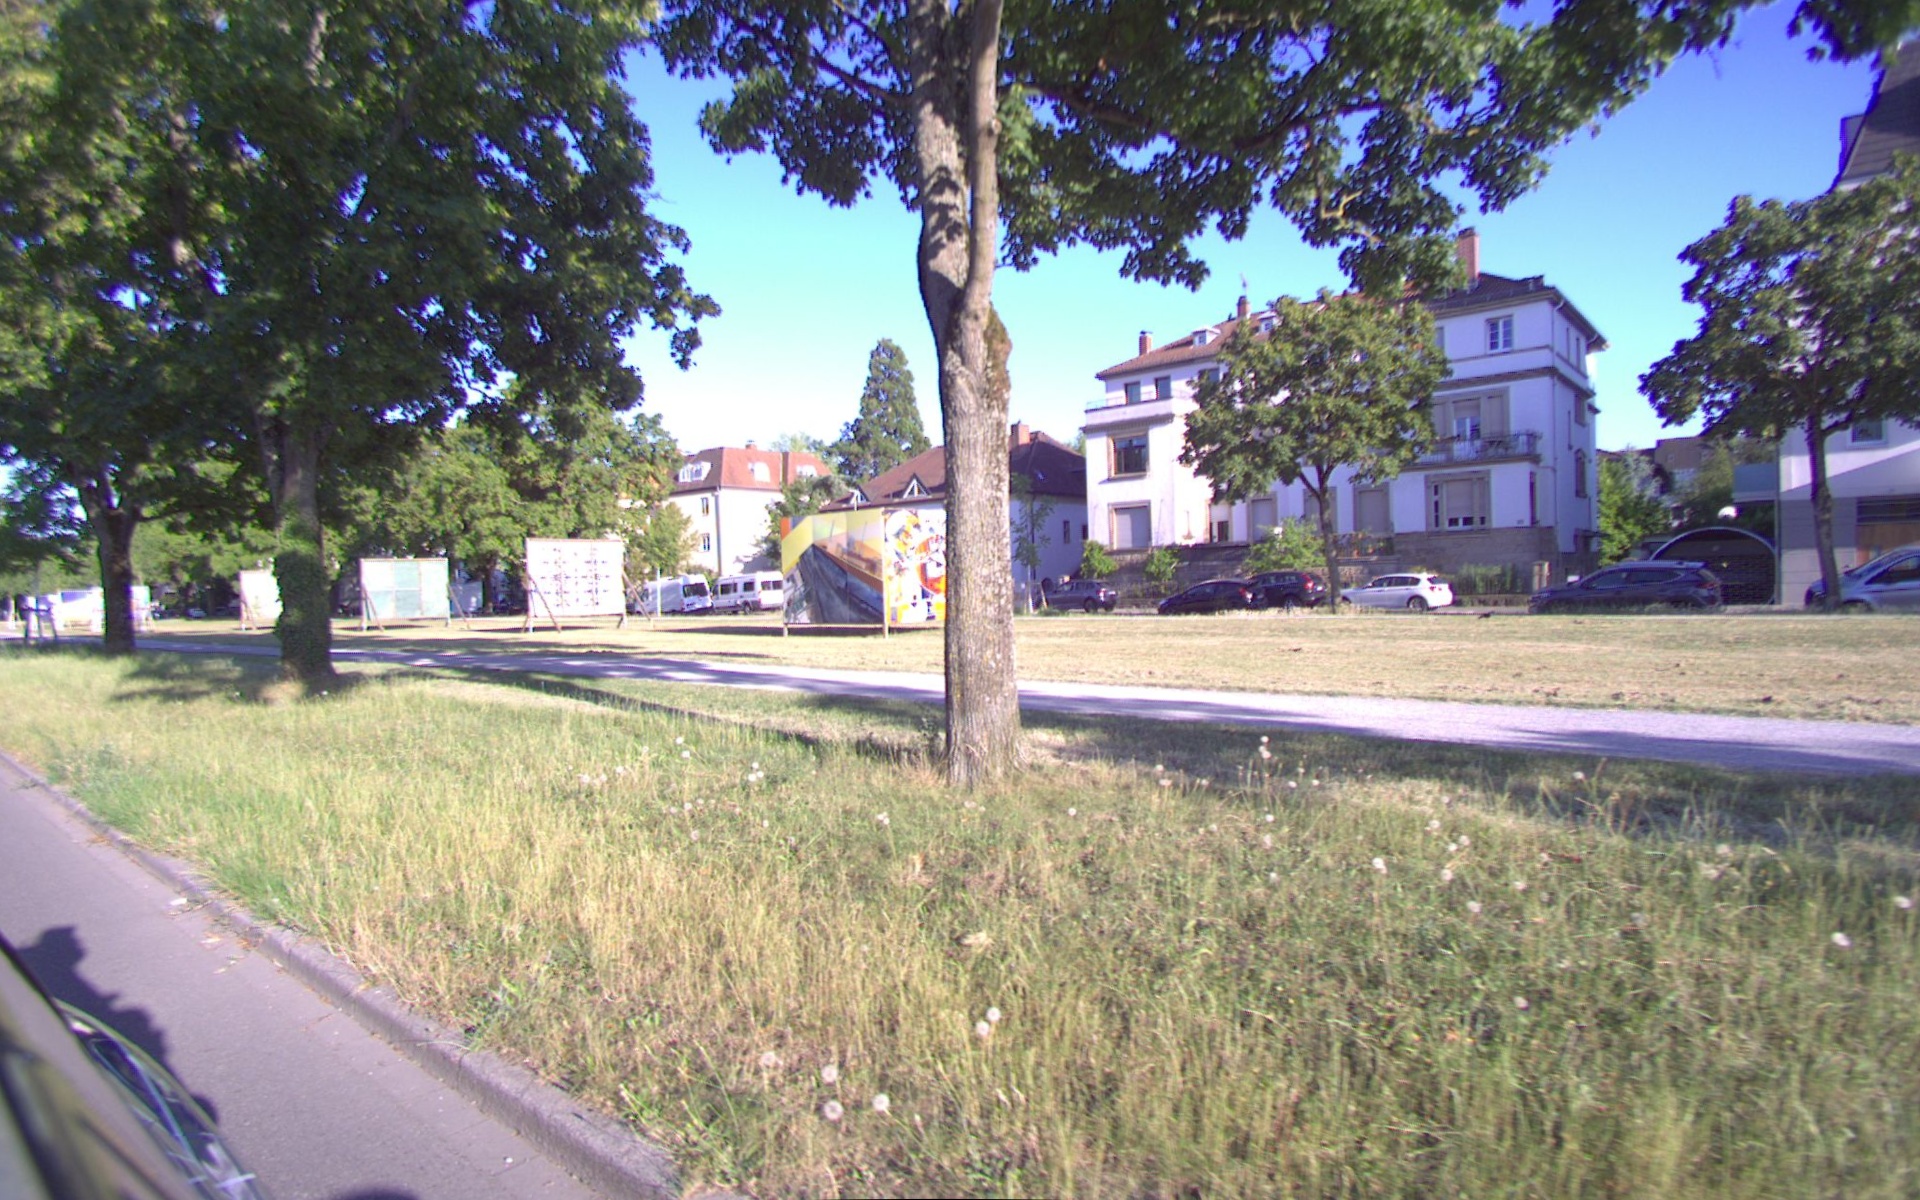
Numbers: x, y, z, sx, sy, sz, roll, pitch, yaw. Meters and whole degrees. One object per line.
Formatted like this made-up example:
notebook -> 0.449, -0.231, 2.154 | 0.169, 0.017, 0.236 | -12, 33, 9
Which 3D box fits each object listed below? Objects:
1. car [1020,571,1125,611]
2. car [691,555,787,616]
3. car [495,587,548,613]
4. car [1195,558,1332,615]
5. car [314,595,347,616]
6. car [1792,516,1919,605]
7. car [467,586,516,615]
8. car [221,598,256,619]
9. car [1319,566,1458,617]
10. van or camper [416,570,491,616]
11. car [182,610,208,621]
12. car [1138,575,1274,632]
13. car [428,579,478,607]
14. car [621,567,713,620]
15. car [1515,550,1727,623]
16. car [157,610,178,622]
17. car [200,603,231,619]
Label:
car -> 5.163, -0.390, 46.885 | 4.664, 1.715, 1.763 | 0, -1, 41
car -> -13.855, -0.877, 63.152 | 6.762, 3.586, 2.279 | 0, -1, 41
car -> -35.922, 0.022, 82.835 | 5.048, 2.019, 1.949 | -1, 2, 42
car -> 12.246, -0.504, 41.074 | 4.853, 2.147, 2.214 | 0, -1, 42
car -> -68.718, 0.635, 110.443 | 3.999, 2.170, 1.973 | -1, 1, 42
car -> 23.100, -0.899, 23.802 | 5.363, 2.016, 1.999 | 0, -1, 38
car -> -39.915, 0.050, 86.146 | 5.115, 2.437, 1.917 | 0, -1, 42
car -> -81.696, 1.009, 114.539 | 4.565, 2.191, 1.974 | -2, 0, 39
car -> 15.918, -0.292, 37.735 | 4.459, 1.757, 1.802 | 0, -1, 42
van or camper -> -38.604, -0.514, 77.055 | 6.902, 3.287, 2.614 | -1, 1, 42
car -> -113.000, 2.289, 149.436 | 3.992, 1.510, 1.976 | -2, 0, 37
car -> 8.755, 0.141, 36.213 | 4.325, 1.931, 1.870 | 0, -1, 41
car -> -38.604, -0.514, 77.055 | 3.999, 2.028, 1.973 | -1, 1, 42
car -> -16.883, -0.353, 58.224 | 5.869, 2.847, 2.237 | 0, -1, 41
car -> 18.089, -0.331, 27.817 | 4.689, 1.842, 1.908 | 0, -1, 41
car -> -107.502, 2.154, 137.238 | 1.868, 1.534, 3.683 | -2, 0, -43
car -> -89.217, 1.319, 121.191 | 4.341, 1.742, 1.974 | -2, 0, 40
